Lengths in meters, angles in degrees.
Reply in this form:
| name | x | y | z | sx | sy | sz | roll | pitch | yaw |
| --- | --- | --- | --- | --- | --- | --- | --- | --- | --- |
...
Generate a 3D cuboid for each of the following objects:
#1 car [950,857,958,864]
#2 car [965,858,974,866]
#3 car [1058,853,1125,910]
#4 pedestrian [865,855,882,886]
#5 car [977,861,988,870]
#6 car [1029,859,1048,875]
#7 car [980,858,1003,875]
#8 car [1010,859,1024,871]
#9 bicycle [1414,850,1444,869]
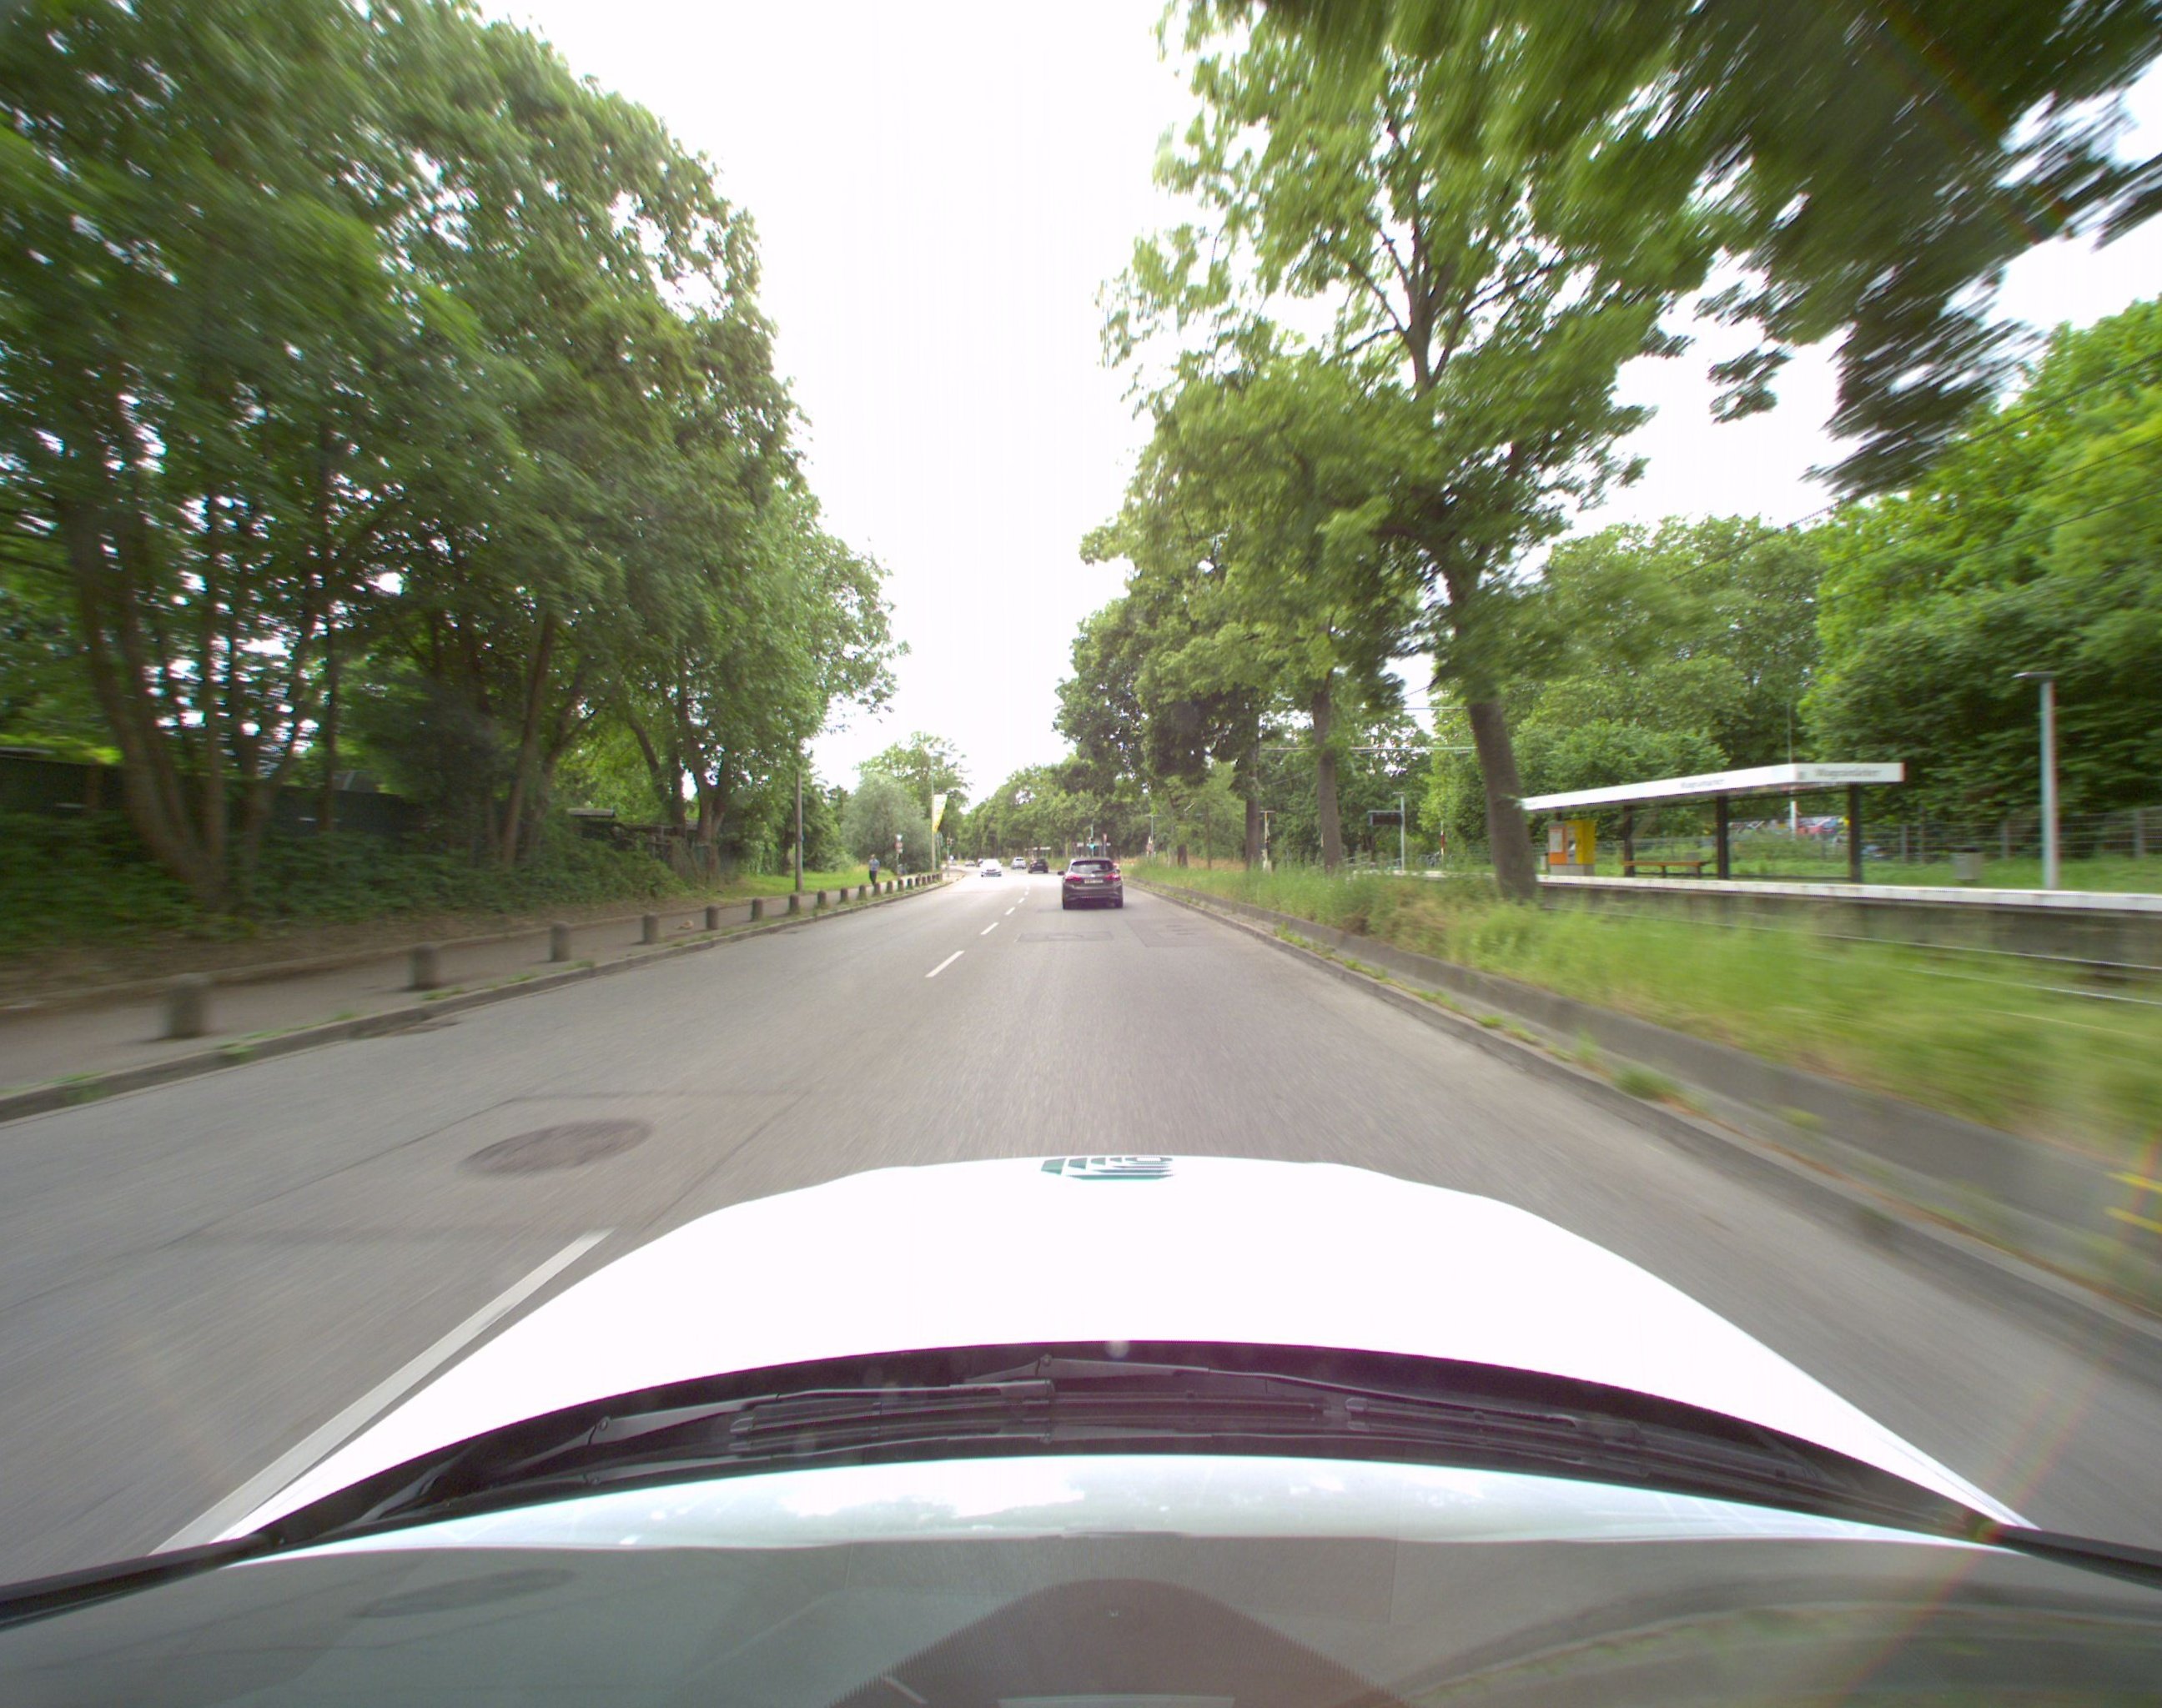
| name | x | y | z | sx | sy | sz | roll | pitch | yaw |
| --- | --- | --- | --- | --- | --- | --- | --- | --- | --- |
| car | -28.100 | 1.494 | 179.944 | 1.775 | 1.472 | 3.988 | 1 | 0 | -8 |
| car | -21.733 | 1.545 | 159.049 | 1.774 | 1.472 | 3.990 | 0 | 0 | -7 |
| car | 0.403 | 0.791 | 25.135 | 1.808 | 1.508 | 4.005 | -2 | 1 | 4 |
| pedestrian | -11.157 | 0.881 | 43.828 | 0.688 | 1.634 | 0.837 | 1 | -1 | -2 |
| car | -17.184 | 2.065 | 142.343 | 1.774 | 1.472 | 3.991 | 2 | -1 | -6 |
| car | -4.107 | 1.238 | 78.686 | 1.772 | 1.472 | 3.994 | 1 | 0 | -4 |
| car | -7.895 | 1.094 | 72.050 | 1.769 | 1.439 | 4.355 | -2 | 0 | -4 |
| car | -8.296 | 1.462 | 105.266 | 1.773 | 1.472 | 3.994 | 1 | 0 | -4 |
| bicycle | 18.854 | 0.302 | 44.129 | 1.506 | 0.973 | 0.449 | 1 | -1 | -5 |
